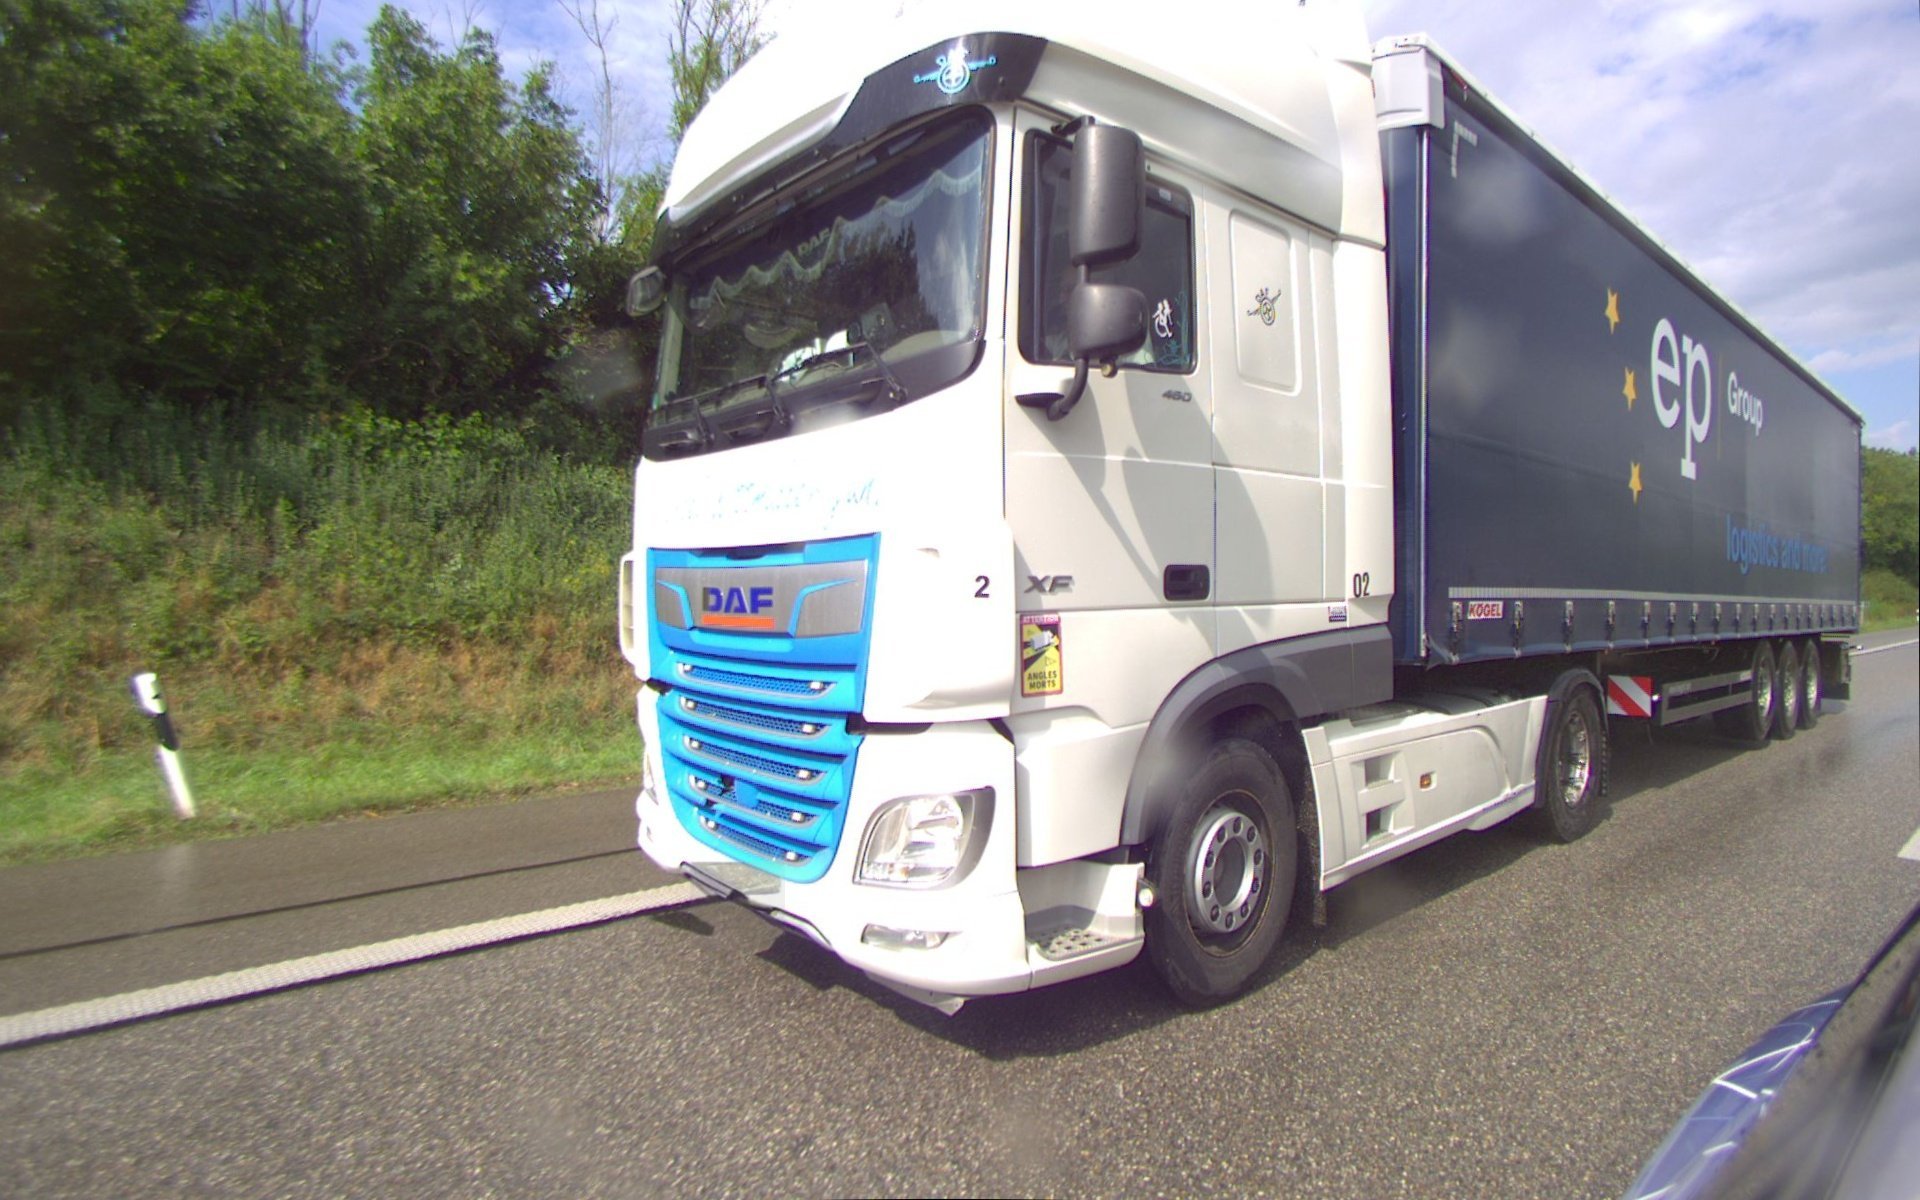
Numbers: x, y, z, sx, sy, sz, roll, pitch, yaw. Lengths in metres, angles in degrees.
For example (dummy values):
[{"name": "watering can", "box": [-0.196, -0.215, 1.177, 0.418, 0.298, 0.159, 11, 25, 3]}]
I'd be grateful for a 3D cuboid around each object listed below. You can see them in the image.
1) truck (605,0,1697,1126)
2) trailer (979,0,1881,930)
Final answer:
[{"name": "truck", "box": [1.883, -0.645, 6.077, 7.163, 4.046, 2.611, 0, 0, -41]}, {"name": "trailer", "box": [6.162, -0.681, 9.849, 13.820, 4.046, 2.638, 0, 0, -41]}]
